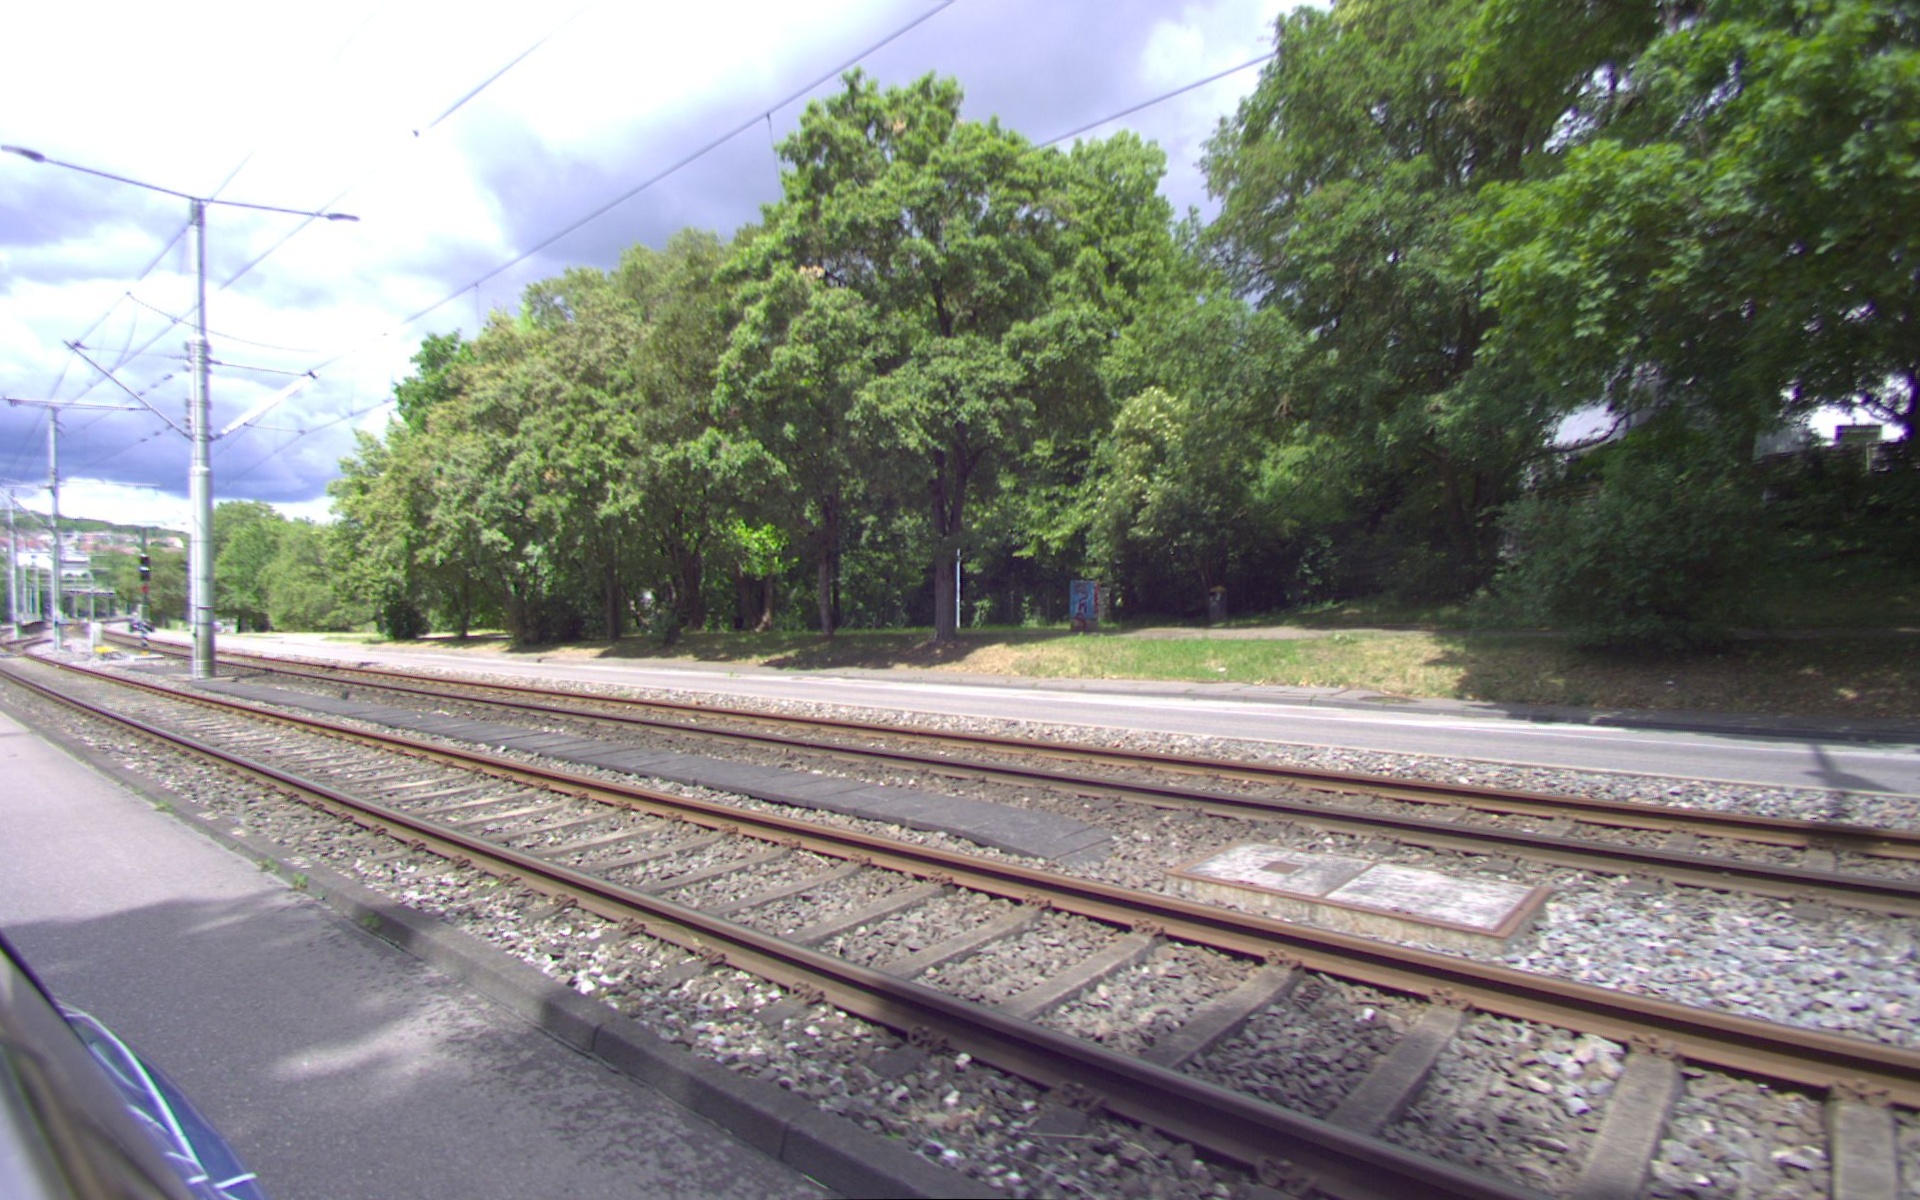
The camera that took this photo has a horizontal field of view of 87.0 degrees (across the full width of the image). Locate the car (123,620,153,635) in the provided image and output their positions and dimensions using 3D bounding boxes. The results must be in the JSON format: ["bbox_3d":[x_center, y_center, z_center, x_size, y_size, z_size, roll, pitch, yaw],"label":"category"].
[{"bbox_3d":[-81.439,2.755,100.268,1.814,1.402,4.864,2,-3,-45],"label":"car"}]

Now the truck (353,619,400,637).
[{"bbox_3d":[-97.905,4.717,169.904,6.517,2.877,2.684,3,-3,-38],"label":"truck"}]
